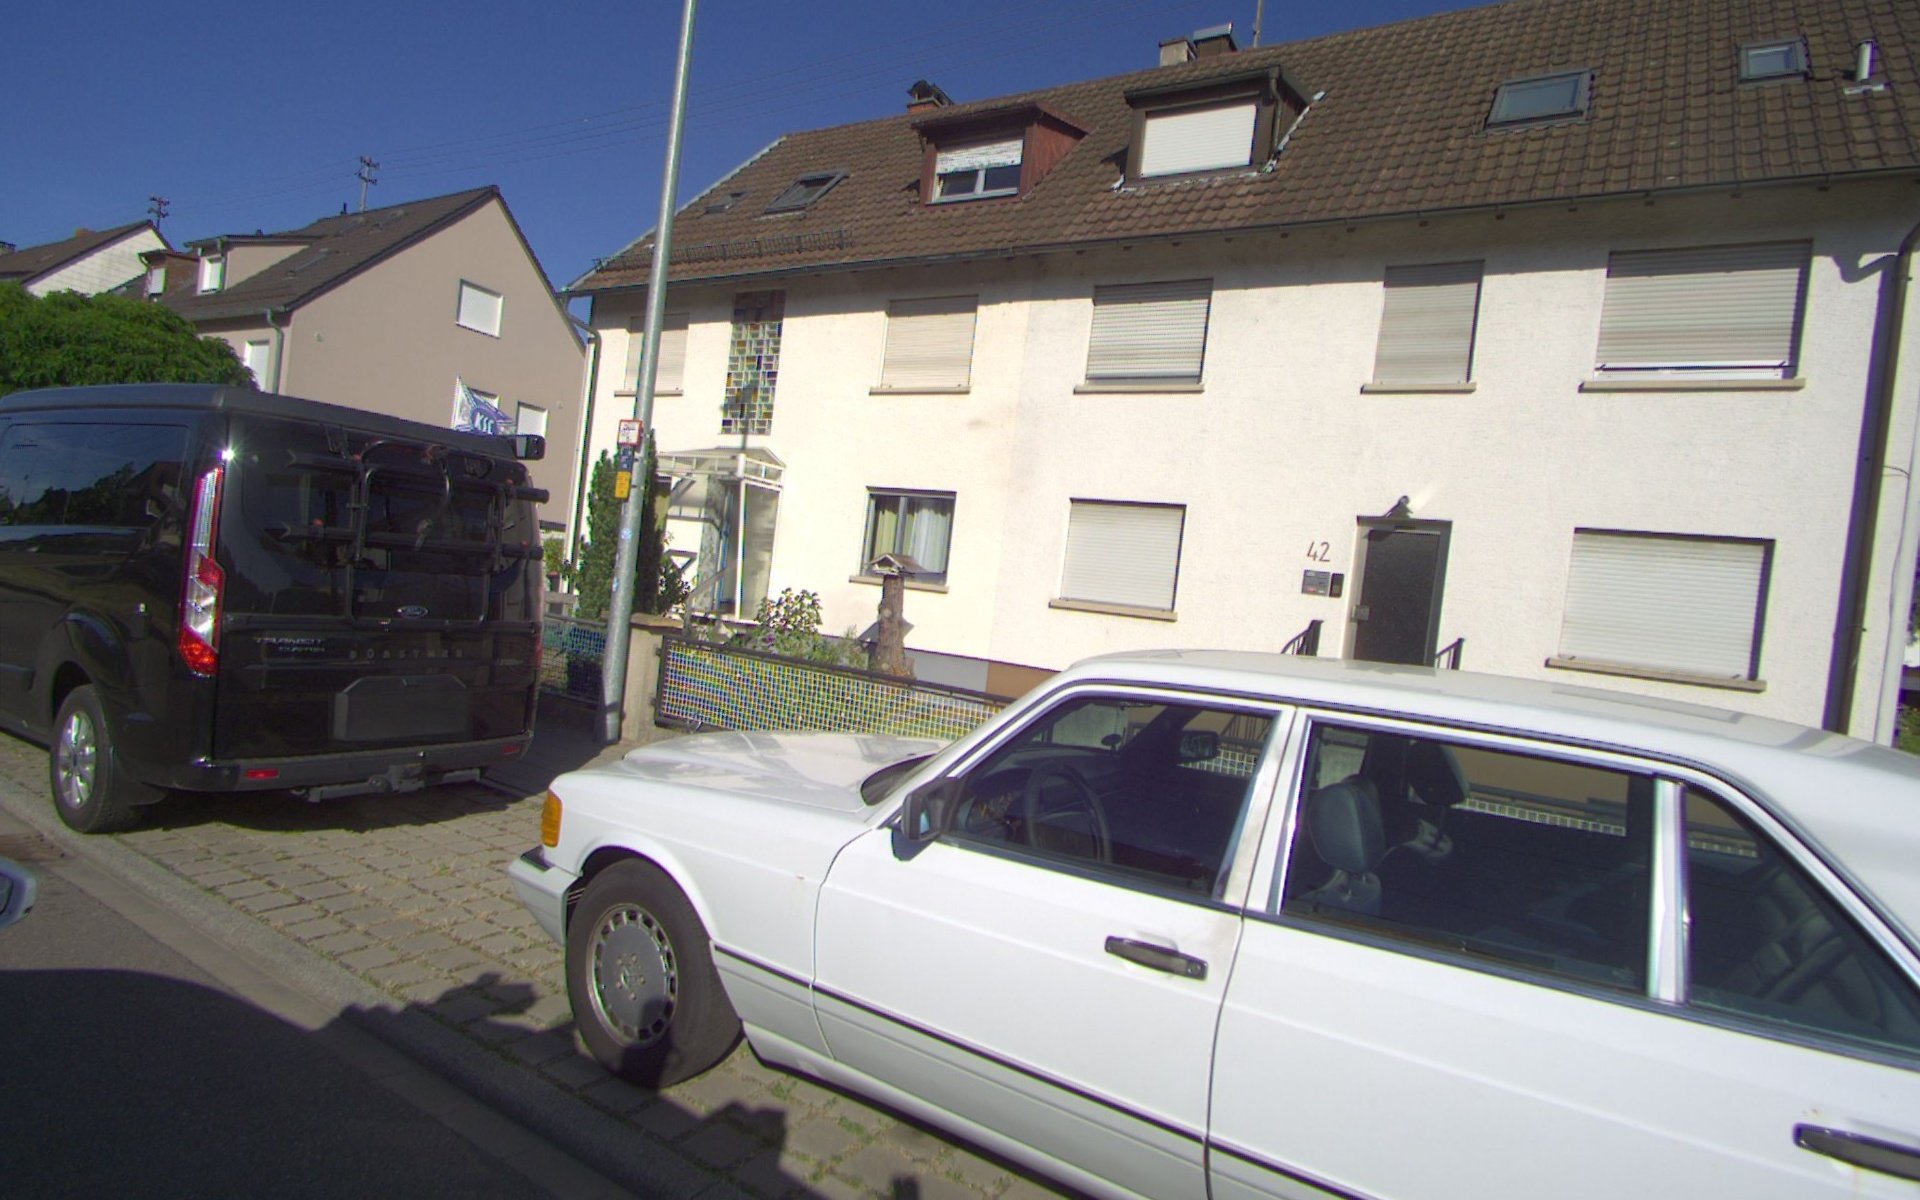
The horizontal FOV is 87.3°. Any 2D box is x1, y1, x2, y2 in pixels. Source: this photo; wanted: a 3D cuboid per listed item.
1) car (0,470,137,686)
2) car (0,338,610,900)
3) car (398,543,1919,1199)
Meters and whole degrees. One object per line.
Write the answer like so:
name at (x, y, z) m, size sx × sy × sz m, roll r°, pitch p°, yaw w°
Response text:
car at (-9.230, -0.376, 8.843) m, size 4.247 × 1.666 × 1.727 m, roll 7°, pitch 1°, yaw 32°
car at (-4.753, -0.120, 6.083) m, size 5.247 × 2.171 × 1.961 m, roll 7°, pitch 1°, yaw 32°
car at (0.916, 0.860, 2.736) m, size 5.521 × 1.463 × 1.853 m, roll 7°, pitch 2°, yaw 33°
